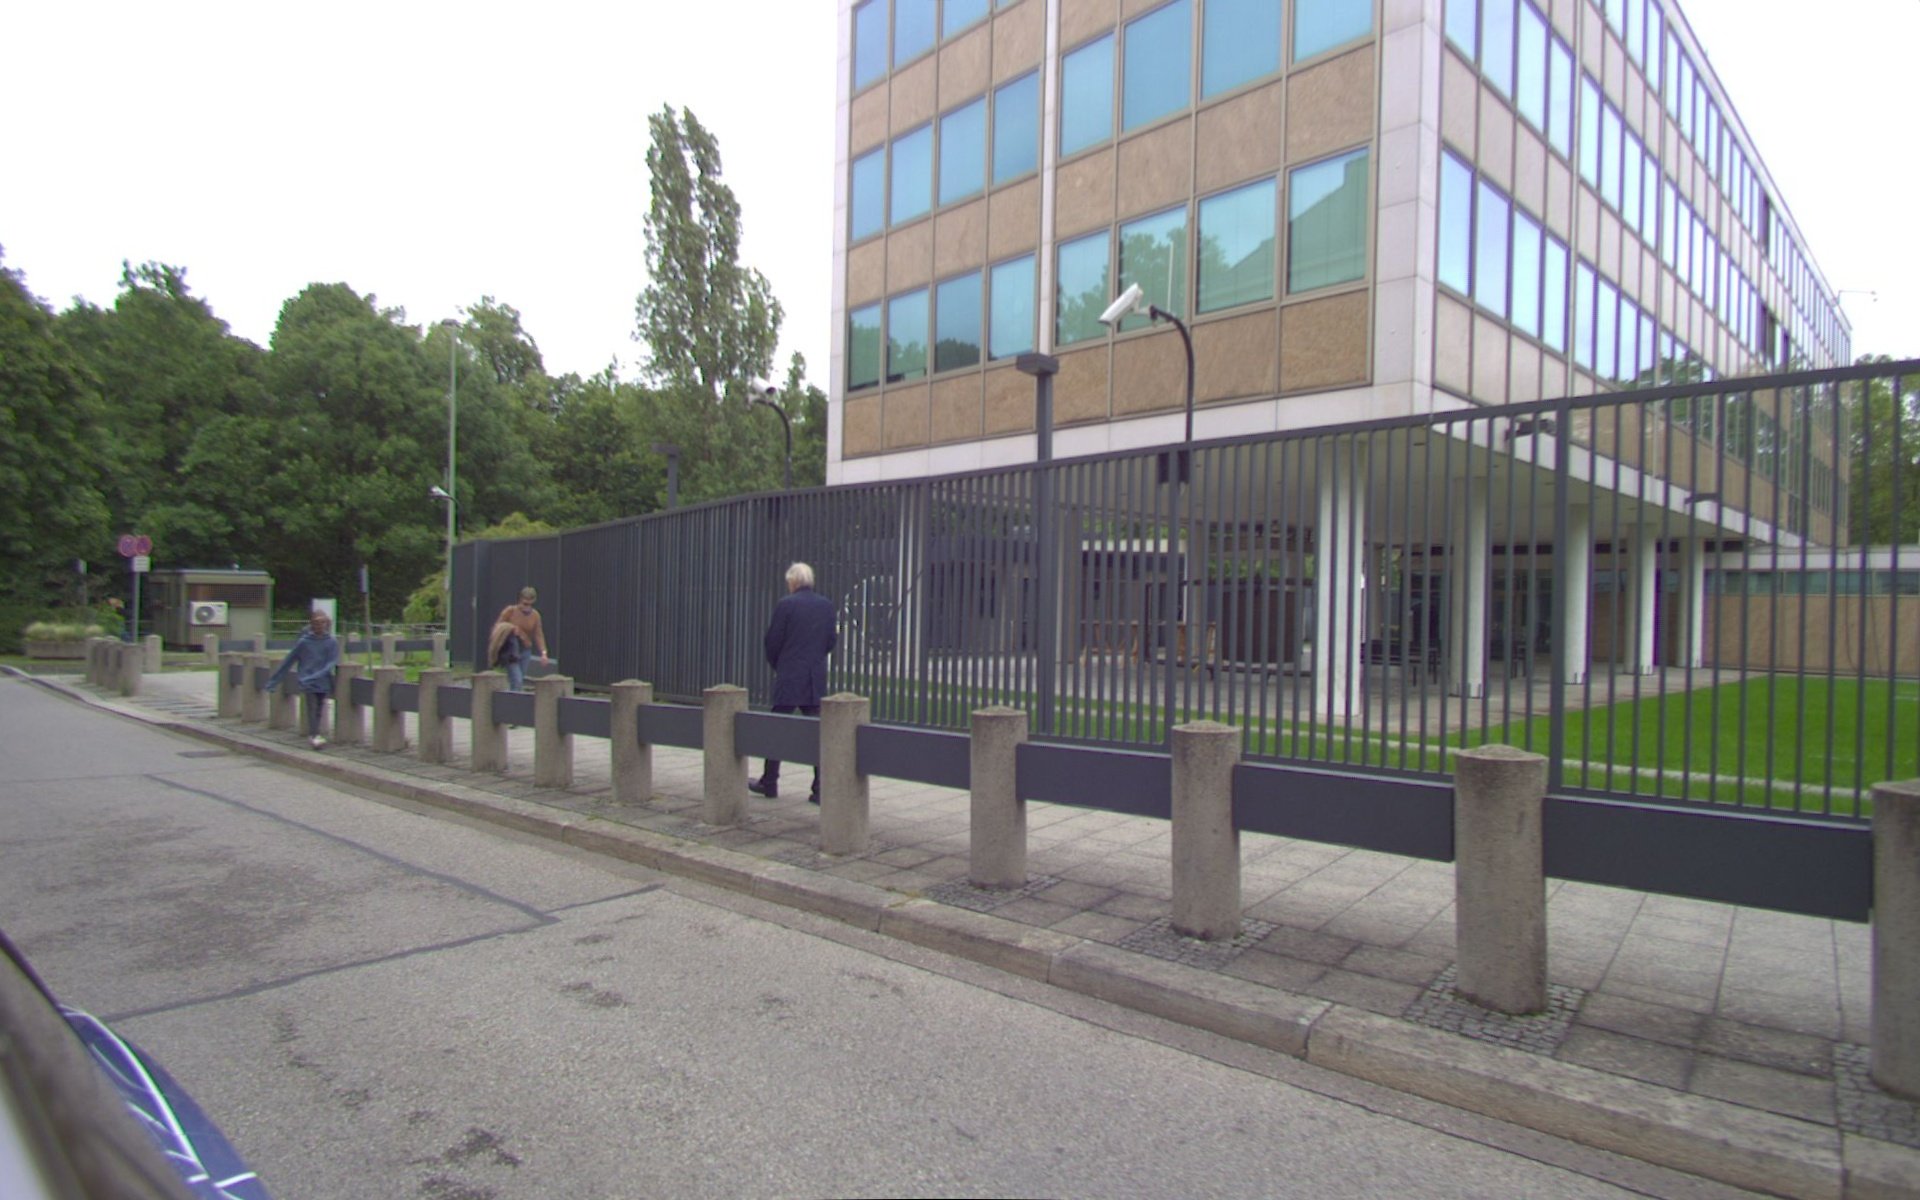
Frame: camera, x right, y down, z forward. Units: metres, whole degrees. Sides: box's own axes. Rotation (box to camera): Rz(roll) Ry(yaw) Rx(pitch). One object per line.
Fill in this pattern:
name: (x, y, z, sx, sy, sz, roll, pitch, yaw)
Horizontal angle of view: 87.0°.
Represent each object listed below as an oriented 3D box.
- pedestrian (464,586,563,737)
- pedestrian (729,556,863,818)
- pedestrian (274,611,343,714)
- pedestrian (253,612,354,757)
pedestrian: (-5.435, 0.706, 12.320, 0.814, 1.736, 0.906, -2, 1, -44)
pedestrian: (-1.195, 0.598, 7.377, 0.766, 1.782, 0.617, -1, -1, 40)
pedestrian: (-10.455, 0.974, 16.240, 0.768, 1.551, 0.934, -2, 1, -42)
pedestrian: (-7.200, 0.886, 11.086, 1.078, 1.478, 0.632, -1, 1, 41)
